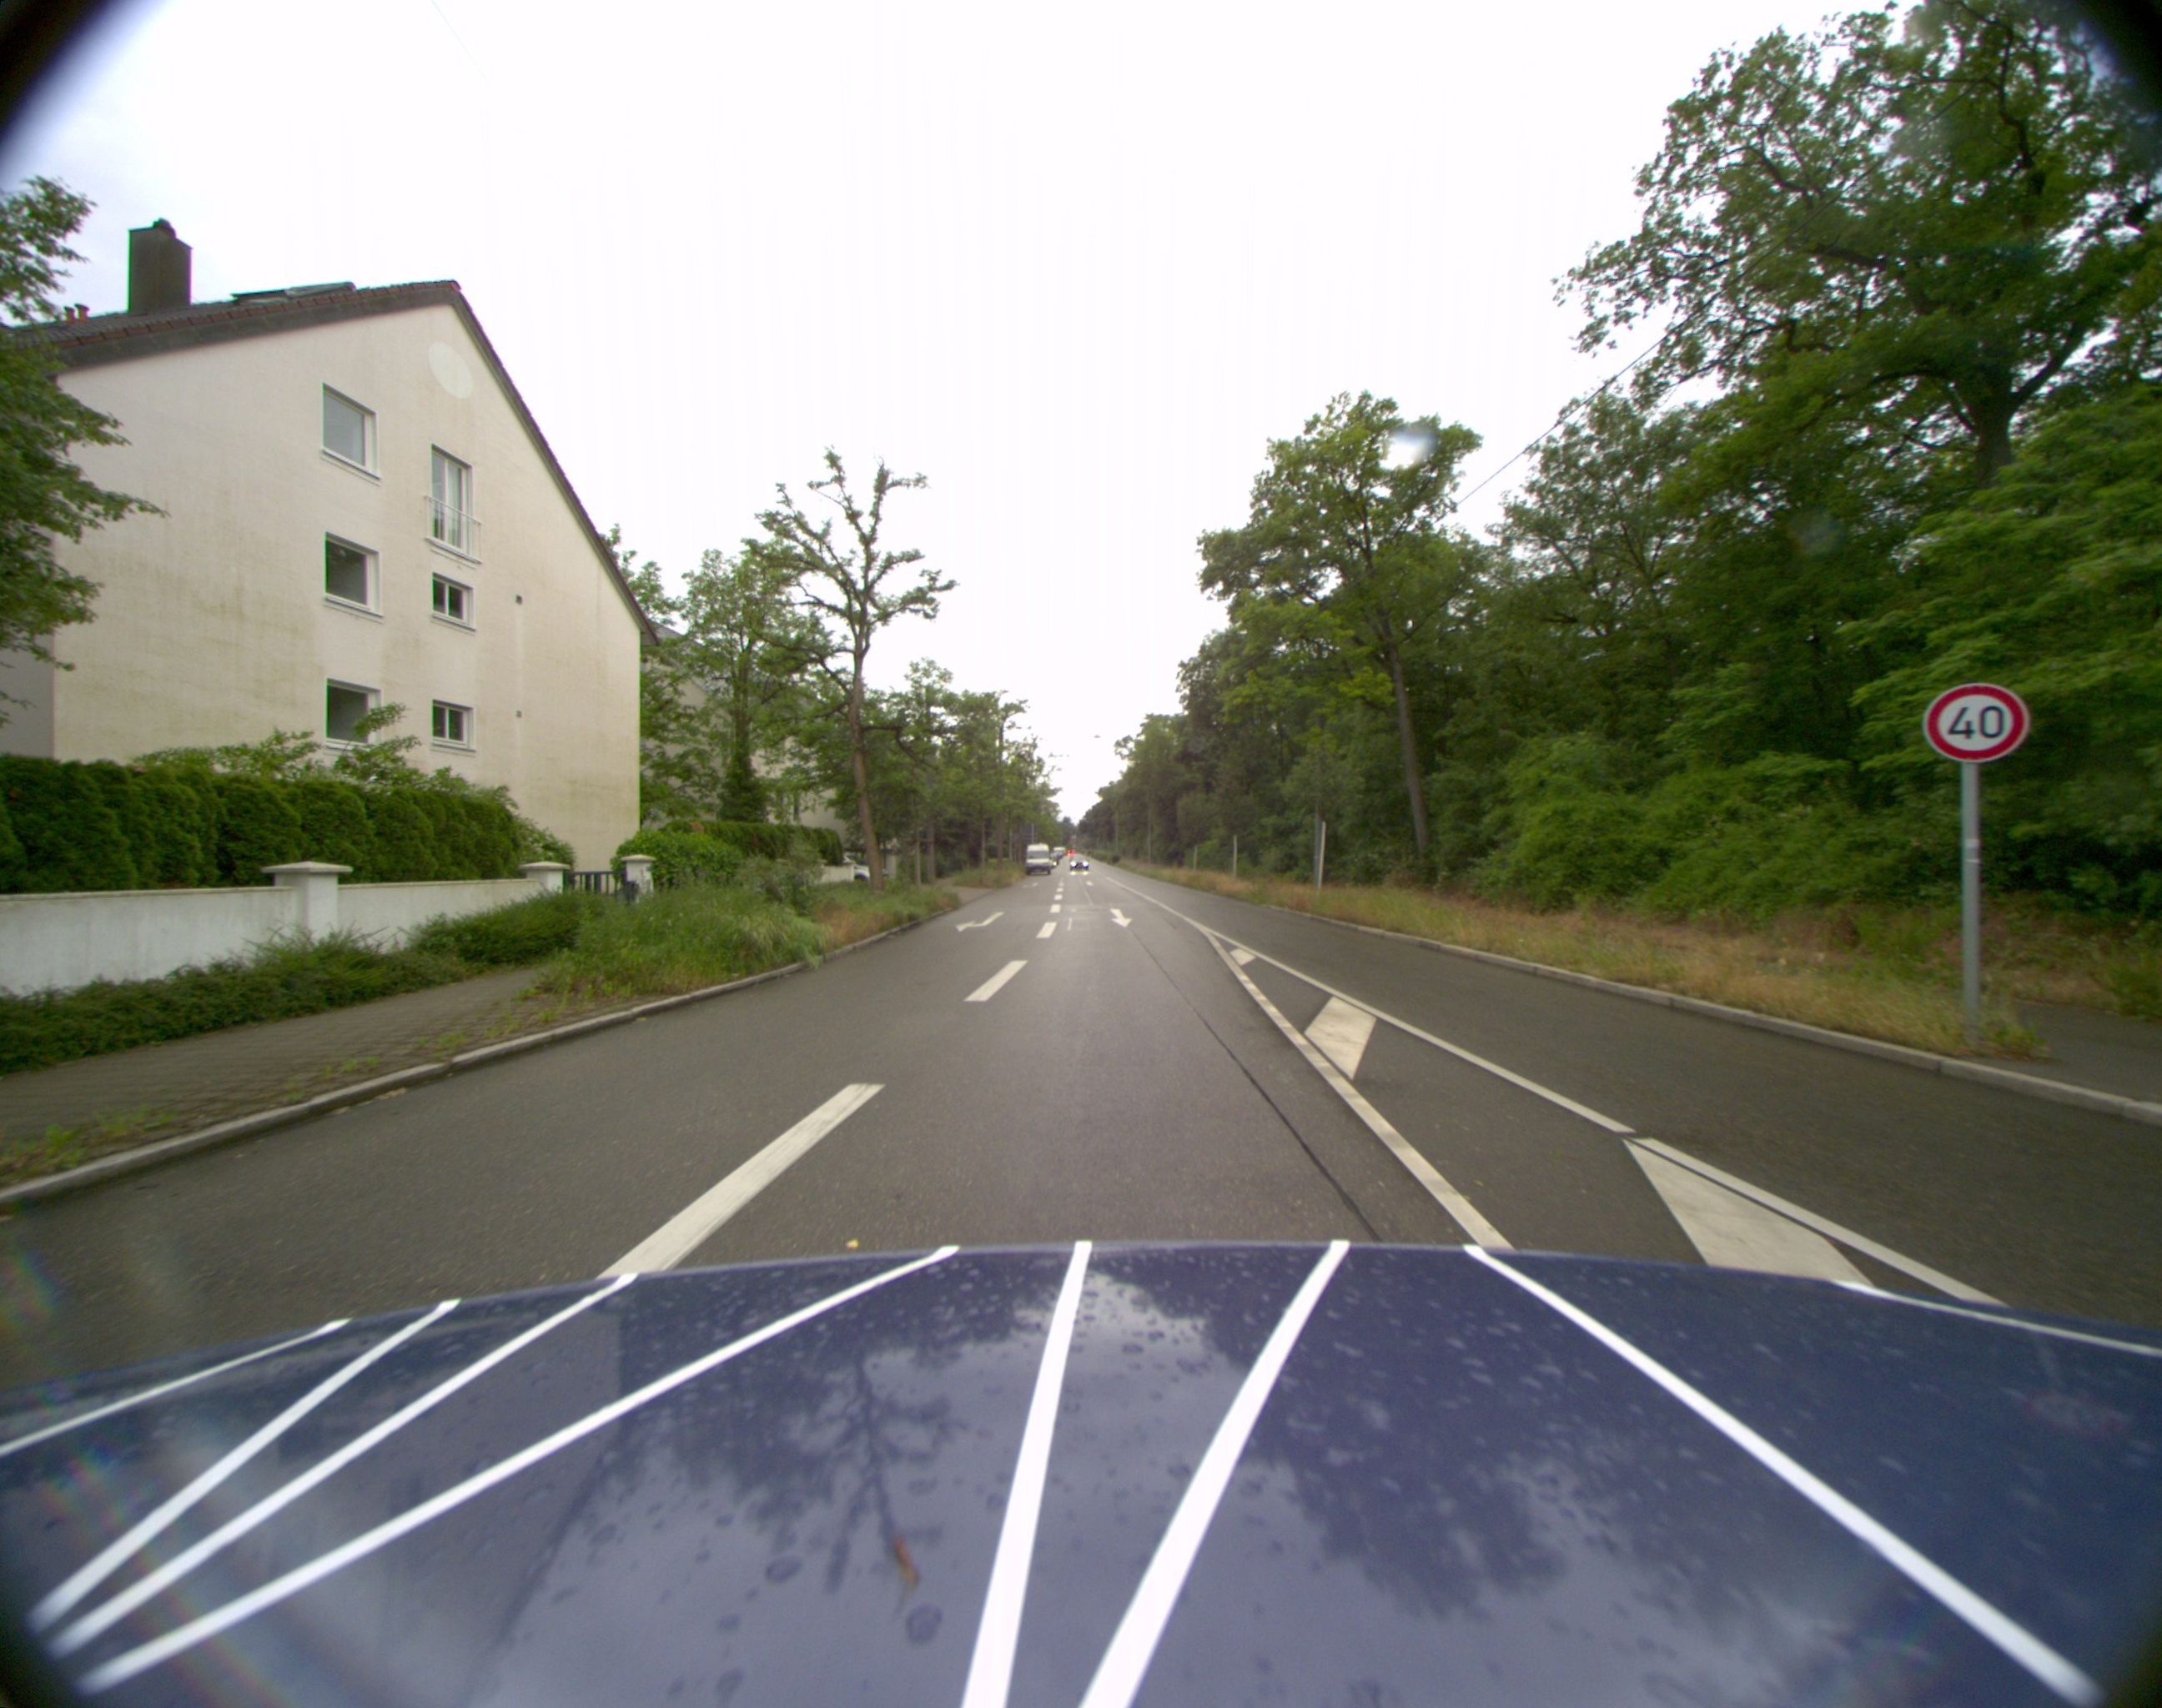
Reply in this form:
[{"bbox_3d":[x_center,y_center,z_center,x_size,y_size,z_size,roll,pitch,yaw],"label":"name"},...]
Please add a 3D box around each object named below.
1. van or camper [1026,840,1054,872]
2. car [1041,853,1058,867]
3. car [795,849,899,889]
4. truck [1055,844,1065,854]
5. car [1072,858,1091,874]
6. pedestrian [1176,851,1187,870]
[{"bbox_3d":[-3.419,0.163,64.019,2.042,2.465,5.637,-3,1,-1],"label":"van or camper"},{"bbox_3d":[-3.387,0.611,81.983,1.576,1.464,3.764,-2,1,0],"label":"car"},{"bbox_3d":[-11.160,0.709,36.363,4.312,1.807,1.875,-1,1,10],"label":"car"},{"bbox_3d":[-4.797,-1.169,172.602,2.230,2.322,5.112,1,1,-2],"label":"truck"},{"bbox_3d":[0.051,1.139,74.672,1.621,1.460,4.409,-2,1,-2],"label":"car"},{"bbox_3d":[8.602,0.518,65.004,0.783,1.598,0.732,0,1,-2],"label":"pedestrian"}]
